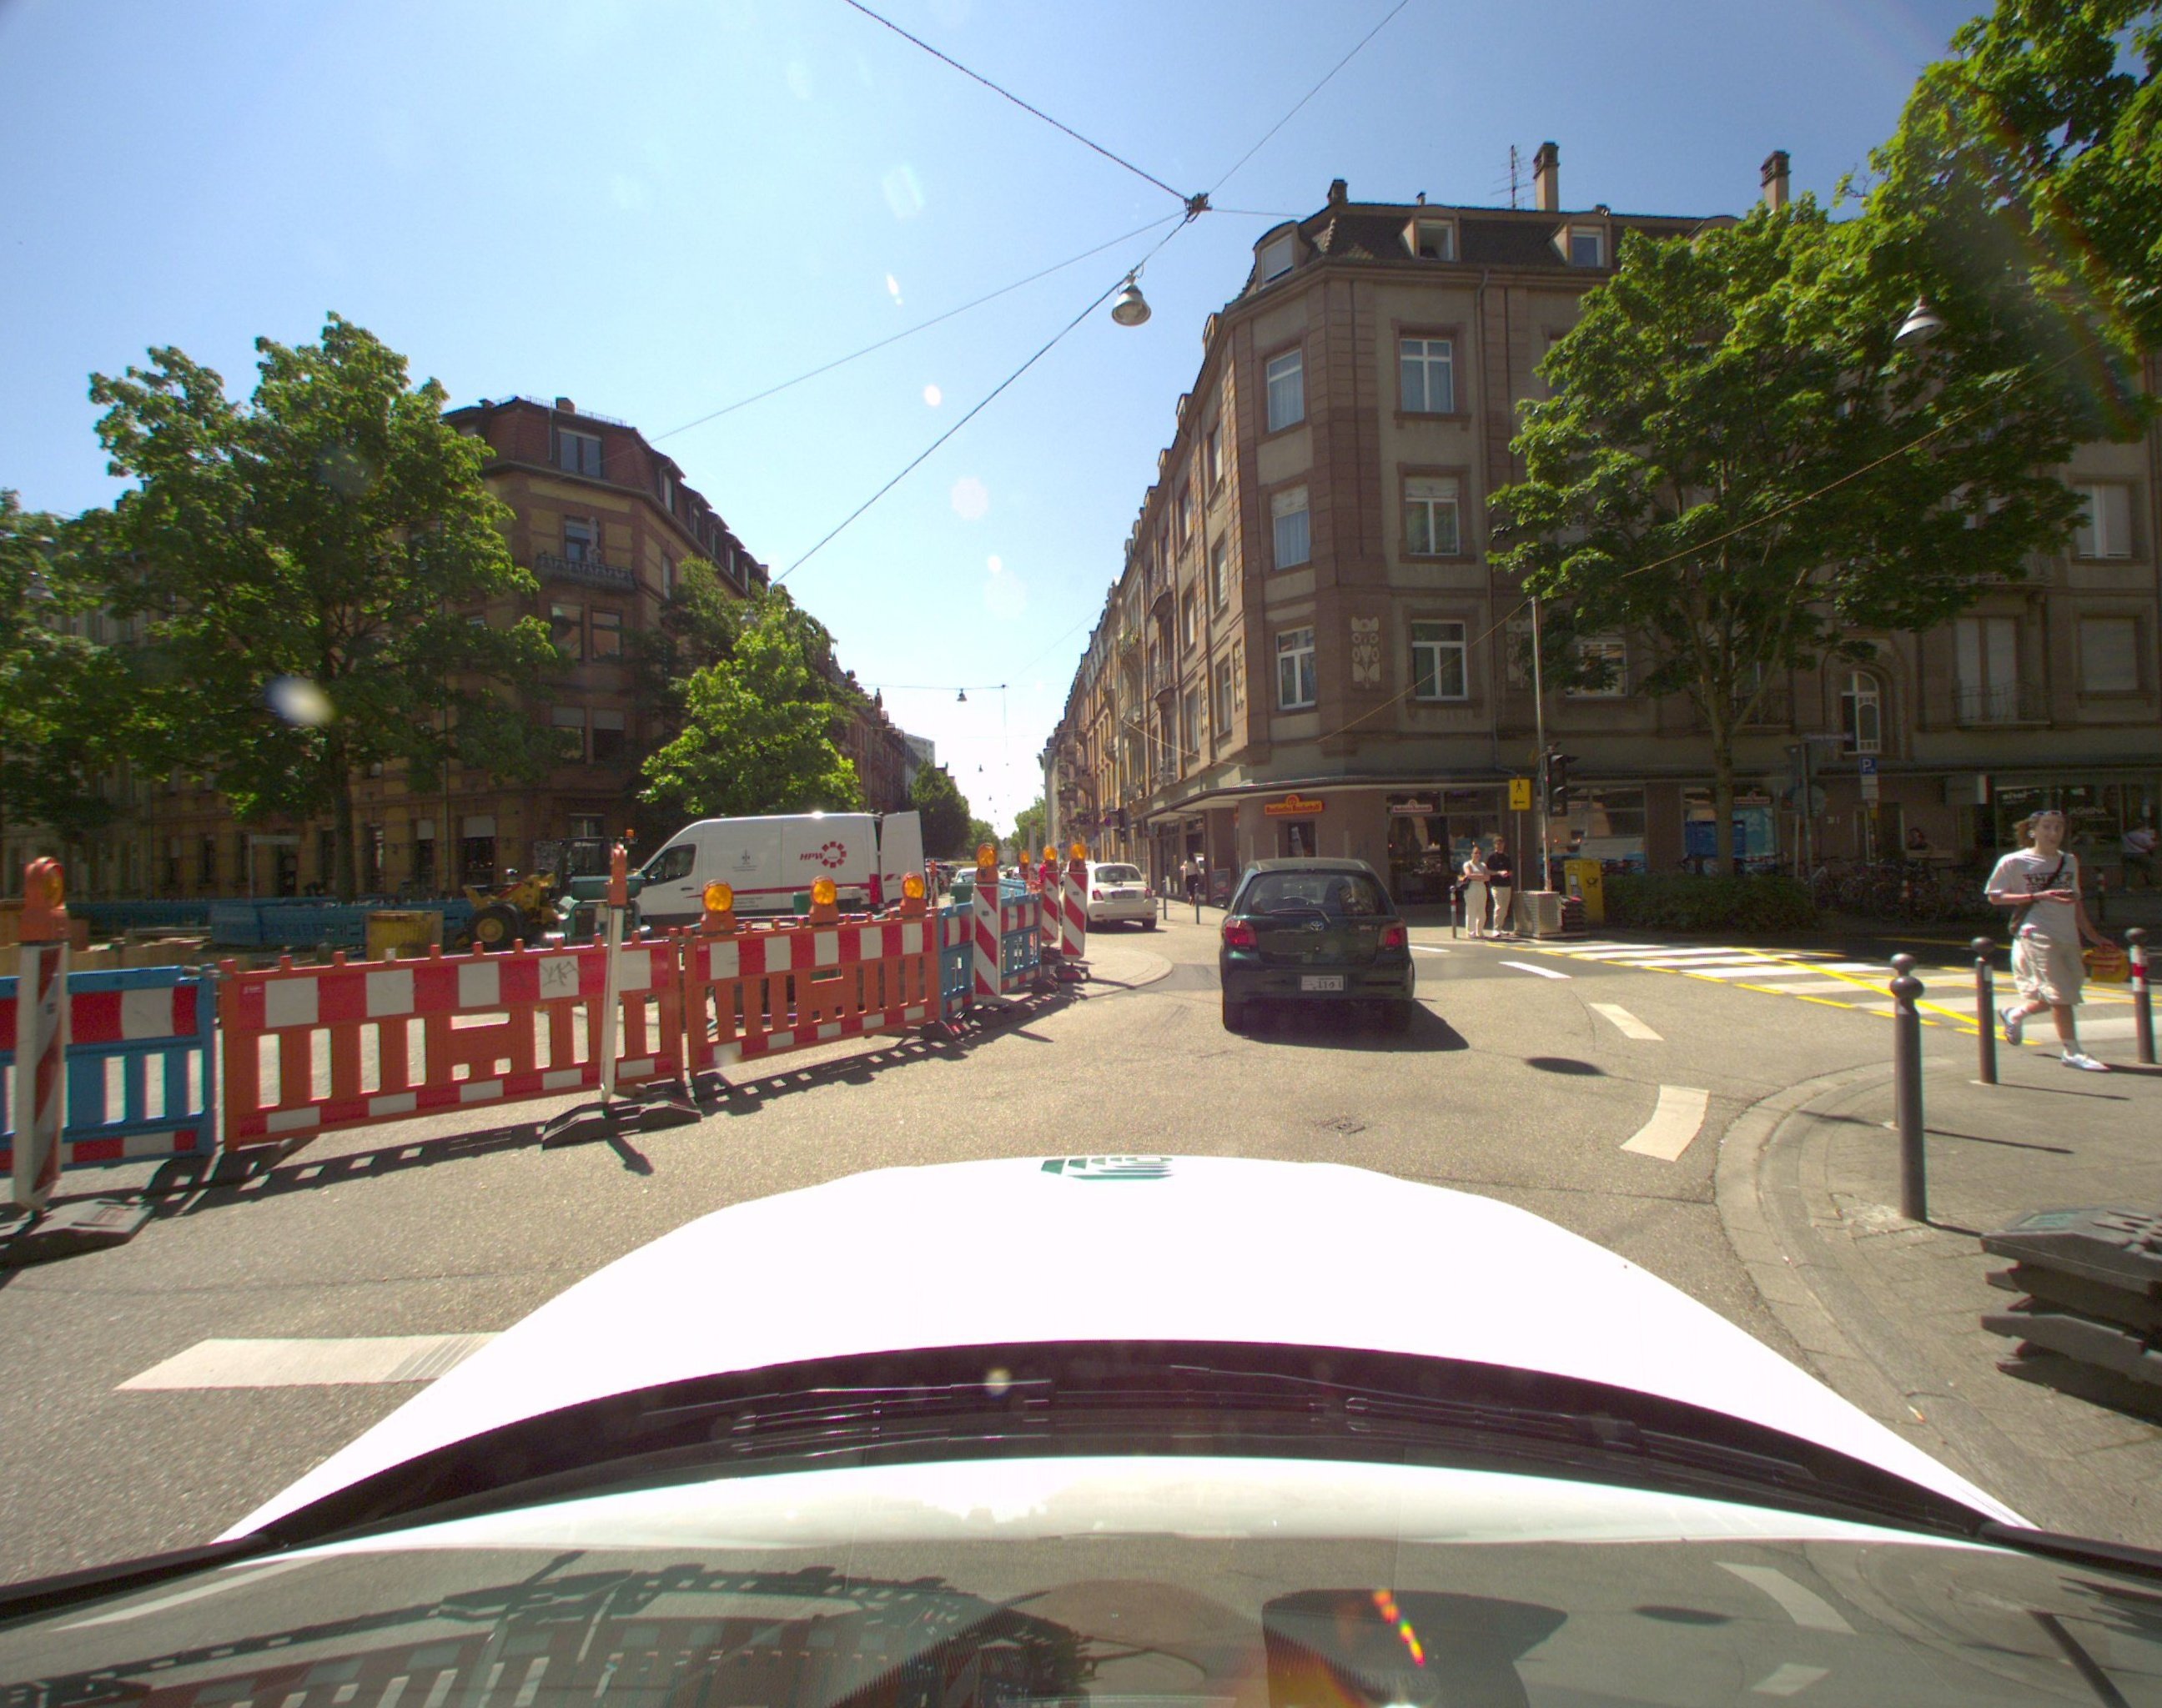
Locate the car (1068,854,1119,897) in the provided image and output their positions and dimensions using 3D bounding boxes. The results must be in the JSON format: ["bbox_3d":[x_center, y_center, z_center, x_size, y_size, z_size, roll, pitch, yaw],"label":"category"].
[{"bbox_3d":[0.510,0.954,37.281,1.868,1.713,4.497,-3,-1,-4],"label":"car"}]

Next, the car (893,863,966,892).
[{"bbox_3d":[-9.114,1.418,49.062,3.946,1.619,1.842,-1,-1,-45],"label":"car"}]

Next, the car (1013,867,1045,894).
[{"bbox_3d":[-3.550,1.801,55.641,1.990,1.618,3.993,-4,-1,-5],"label":"car"}]

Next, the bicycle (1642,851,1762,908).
[{"bbox_3d":[13.196,0.545,17.349,1.966,1.132,0.518,-2,-1,13],"label":"bicycle"}]

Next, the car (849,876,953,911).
[{"bbox_3d":[-7.877,1.696,35.725,4.018,1.412,1.949,1,-1,-37],"label":"car"}]

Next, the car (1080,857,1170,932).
[{"bbox_3d":[0.924,0.866,18.770,1.521,1.521,3.256,-2,0,-6],"label":"car"}]

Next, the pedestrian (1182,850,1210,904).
[{"bbox_3d":[3.527,0.699,25.029,0.640,1.623,0.803,-2,-1,-4],"label":"pedestrian"}]

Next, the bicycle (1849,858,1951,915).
[{"bbox_3d":[15.694,0.615,15.613,1.683,1.005,0.469,-2,1,-9],"label":"bicycle"}]

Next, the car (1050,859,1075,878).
[{"bbox_3d":[-1.511,1.170,65.124,1.751,1.429,3.994,-2,-1,-4],"label":"car"}]

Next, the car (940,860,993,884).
[{"bbox_3d":[-11.012,1.718,78.252,4.588,2.187,1.980,-1,-1,-32],"label":"car"}]

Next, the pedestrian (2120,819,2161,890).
[{"bbox_3d":[24.706,0.018,18.855,0.489,1.614,0.559,-2,-1,0],"label":"pedestrian"}]

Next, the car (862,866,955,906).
[{"bbox_3d":[-8.227,1.473,38.990,4.015,1.804,1.750,0,-1,-34],"label":"car"}]

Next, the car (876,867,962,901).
[{"bbox_3d":[-8.228,1.502,41.455,4.009,1.658,1.744,0,-1,-28],"label":"car"}]

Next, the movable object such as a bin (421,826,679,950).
[{"bbox_3d":[-12.040,0.747,18.793,4.541,2.659,1.949,0,-1,-8],"label":"movable object such as a bin"}]

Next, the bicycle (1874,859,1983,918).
[{"bbox_3d":[15.611,0.627,15.003,1.759,0.996,0.469,-2,1,-9],"label":"bicycle"}]

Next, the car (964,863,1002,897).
[{"bbox_3d":[-5.449,1.429,45.636,1.751,1.645,4.371,-5,-1,-4],"label":"car"}]

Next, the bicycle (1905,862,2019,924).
[{"bbox_3d":[15.528,0.676,14.363,1.759,0.996,0.469,-2,1,-9],"label":"bicycle"}]

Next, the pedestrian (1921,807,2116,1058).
[{"bbox_3d":[6.974,0.555,6.111,0.474,1.733,0.875,-2,-2,15],"label":"pedestrian"}]

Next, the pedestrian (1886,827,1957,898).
[{"bbox_3d":[20.165,0.205,19.552,0.855,1.634,0.786,-2,-1,-5],"label":"pedestrian"}]

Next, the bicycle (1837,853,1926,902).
[{"bbox_3d":[18.002,0.518,18.325,1.723,0.996,0.503,-2,1,-9],"label":"bicycle"}]

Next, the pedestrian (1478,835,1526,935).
[{"bbox_3d":[7.745,0.552,14.992,0.576,1.768,0.469,-4,3,-13],"label":"pedestrian"}]

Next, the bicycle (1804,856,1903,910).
[{"bbox_3d":[15.501,0.567,16.350,1.759,0.996,0.469,-2,1,-9],"label":"bicycle"}]

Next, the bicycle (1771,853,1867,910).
[{"bbox_3d":[15.261,0.559,16.839,1.759,1.080,0.469,-2,1,-9],"label":"bicycle"}]

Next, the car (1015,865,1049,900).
[{"bbox_3d":[-2.494,1.402,40.597,1.520,1.592,3.257,-2,0,-6],"label":"car"}]

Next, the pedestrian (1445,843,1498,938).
[{"bbox_3d":[7.124,0.646,14.862,0.702,1.645,0.421,-4,3,-13],"label":"pedestrian"}]

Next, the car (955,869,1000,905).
[{"bbox_3d":[-4.653,1.462,37.174,1.751,1.444,3.994,-2,-1,-4],"label":"car"}]

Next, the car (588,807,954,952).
[{"bbox_3d":[-6.096,0.498,16.866,6.607,2.752,2.376,0,-1,-4],"label":"car"}]

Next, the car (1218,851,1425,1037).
[{"bbox_3d":[2.268,0.730,8.272,1.603,1.485,3.251,-1,0,11],"label":"car"}]

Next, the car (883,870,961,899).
[{"bbox_3d":[-8.935,1.698,46.047,1.842,1.470,3.946,-3,-1,44],"label":"car"}]

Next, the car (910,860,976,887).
[{"bbox_3d":[-11.205,1.581,66.138,4.807,1.994,2.032,-1,-1,-33],"label":"car"}]
